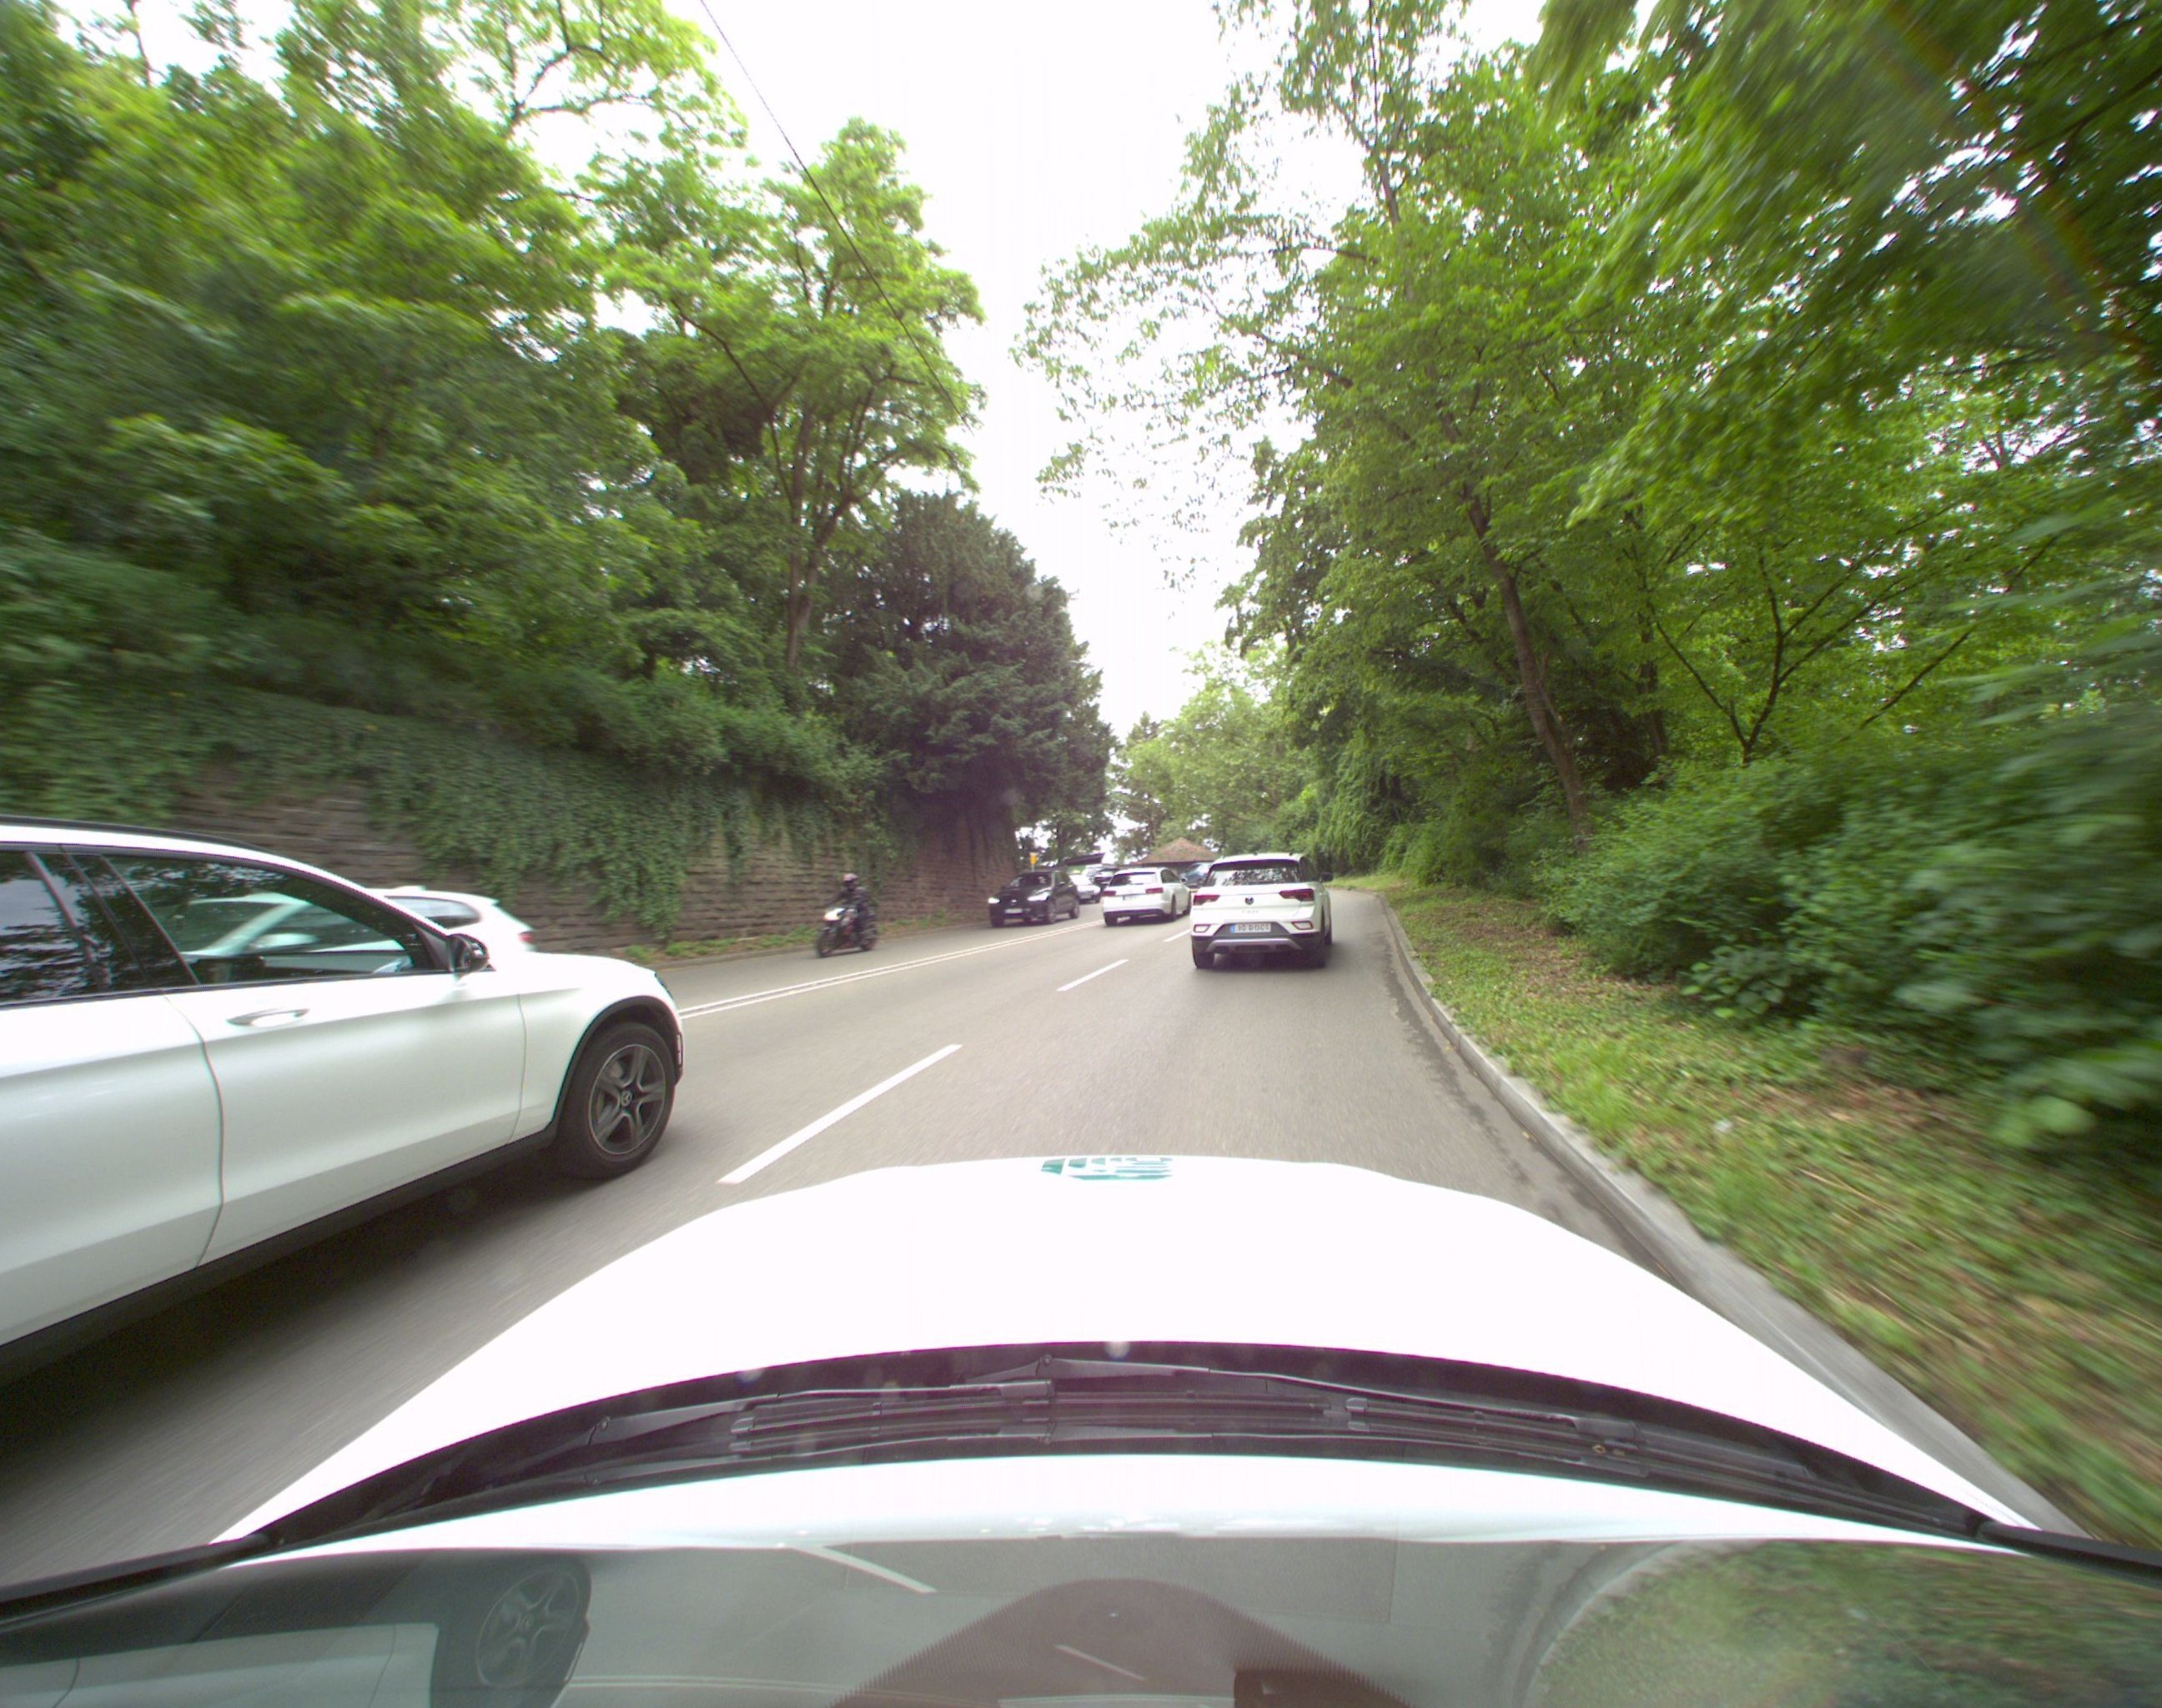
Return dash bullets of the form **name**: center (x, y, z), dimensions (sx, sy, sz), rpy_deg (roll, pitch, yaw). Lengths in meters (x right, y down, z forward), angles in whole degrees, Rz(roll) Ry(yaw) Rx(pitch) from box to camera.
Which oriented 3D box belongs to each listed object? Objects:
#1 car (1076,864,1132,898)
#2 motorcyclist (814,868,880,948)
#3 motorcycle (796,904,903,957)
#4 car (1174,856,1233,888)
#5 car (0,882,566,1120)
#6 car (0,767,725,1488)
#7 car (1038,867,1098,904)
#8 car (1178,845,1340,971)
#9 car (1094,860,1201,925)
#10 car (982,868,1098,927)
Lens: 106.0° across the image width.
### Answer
- **car**: center (1.273, 1.616, 48.017), dimensions (1.966, 1.764, 4.197), rpy_deg (-3, -2, -17)
- **motorcyclist**: center (-4.709, 1.074, 16.442), dimensions (0.740, 1.529, 1.100), rpy_deg (-3, -2, 19)
- **motorcycle**: center (-4.645, 1.524, 16.570), dimensions (0.801, 0.890, 2.441), rpy_deg (-3, -2, 19)
- **car**: center (6.494, 0.987, 43.507), dimensions (1.671, 1.501, 4.005), rpy_deg (-4, -2, -13)
- **car**: center (-6.953, 0.982, 6.981), dimensions (1.735, 1.416, 4.342), rpy_deg (-2, -2, 11)
- **car**: center (-3.269, 0.641, 2.606), dimensions (1.850, 1.606, 4.677), rpy_deg (-1, -2, 5)
- **car**: center (-0.714, 1.609, 40.461), dimensions (1.865, 1.597, 4.606), rpy_deg (-4, -2, -14)
- **car**: center (2.879, 0.699, 12.388), dimensions (1.739, 1.553, 4.360), rpy_deg (-2, -1, 21)
- **car**: center (2.001, 1.014, 22.760), dimensions (1.850, 1.534, 4.798), rpy_deg (-4, -2, 18)
- **car**: center (-1.173, 1.306, 25.732), dimensions (1.833, 1.649, 4.535), rpy_deg (-3, -2, 22)
